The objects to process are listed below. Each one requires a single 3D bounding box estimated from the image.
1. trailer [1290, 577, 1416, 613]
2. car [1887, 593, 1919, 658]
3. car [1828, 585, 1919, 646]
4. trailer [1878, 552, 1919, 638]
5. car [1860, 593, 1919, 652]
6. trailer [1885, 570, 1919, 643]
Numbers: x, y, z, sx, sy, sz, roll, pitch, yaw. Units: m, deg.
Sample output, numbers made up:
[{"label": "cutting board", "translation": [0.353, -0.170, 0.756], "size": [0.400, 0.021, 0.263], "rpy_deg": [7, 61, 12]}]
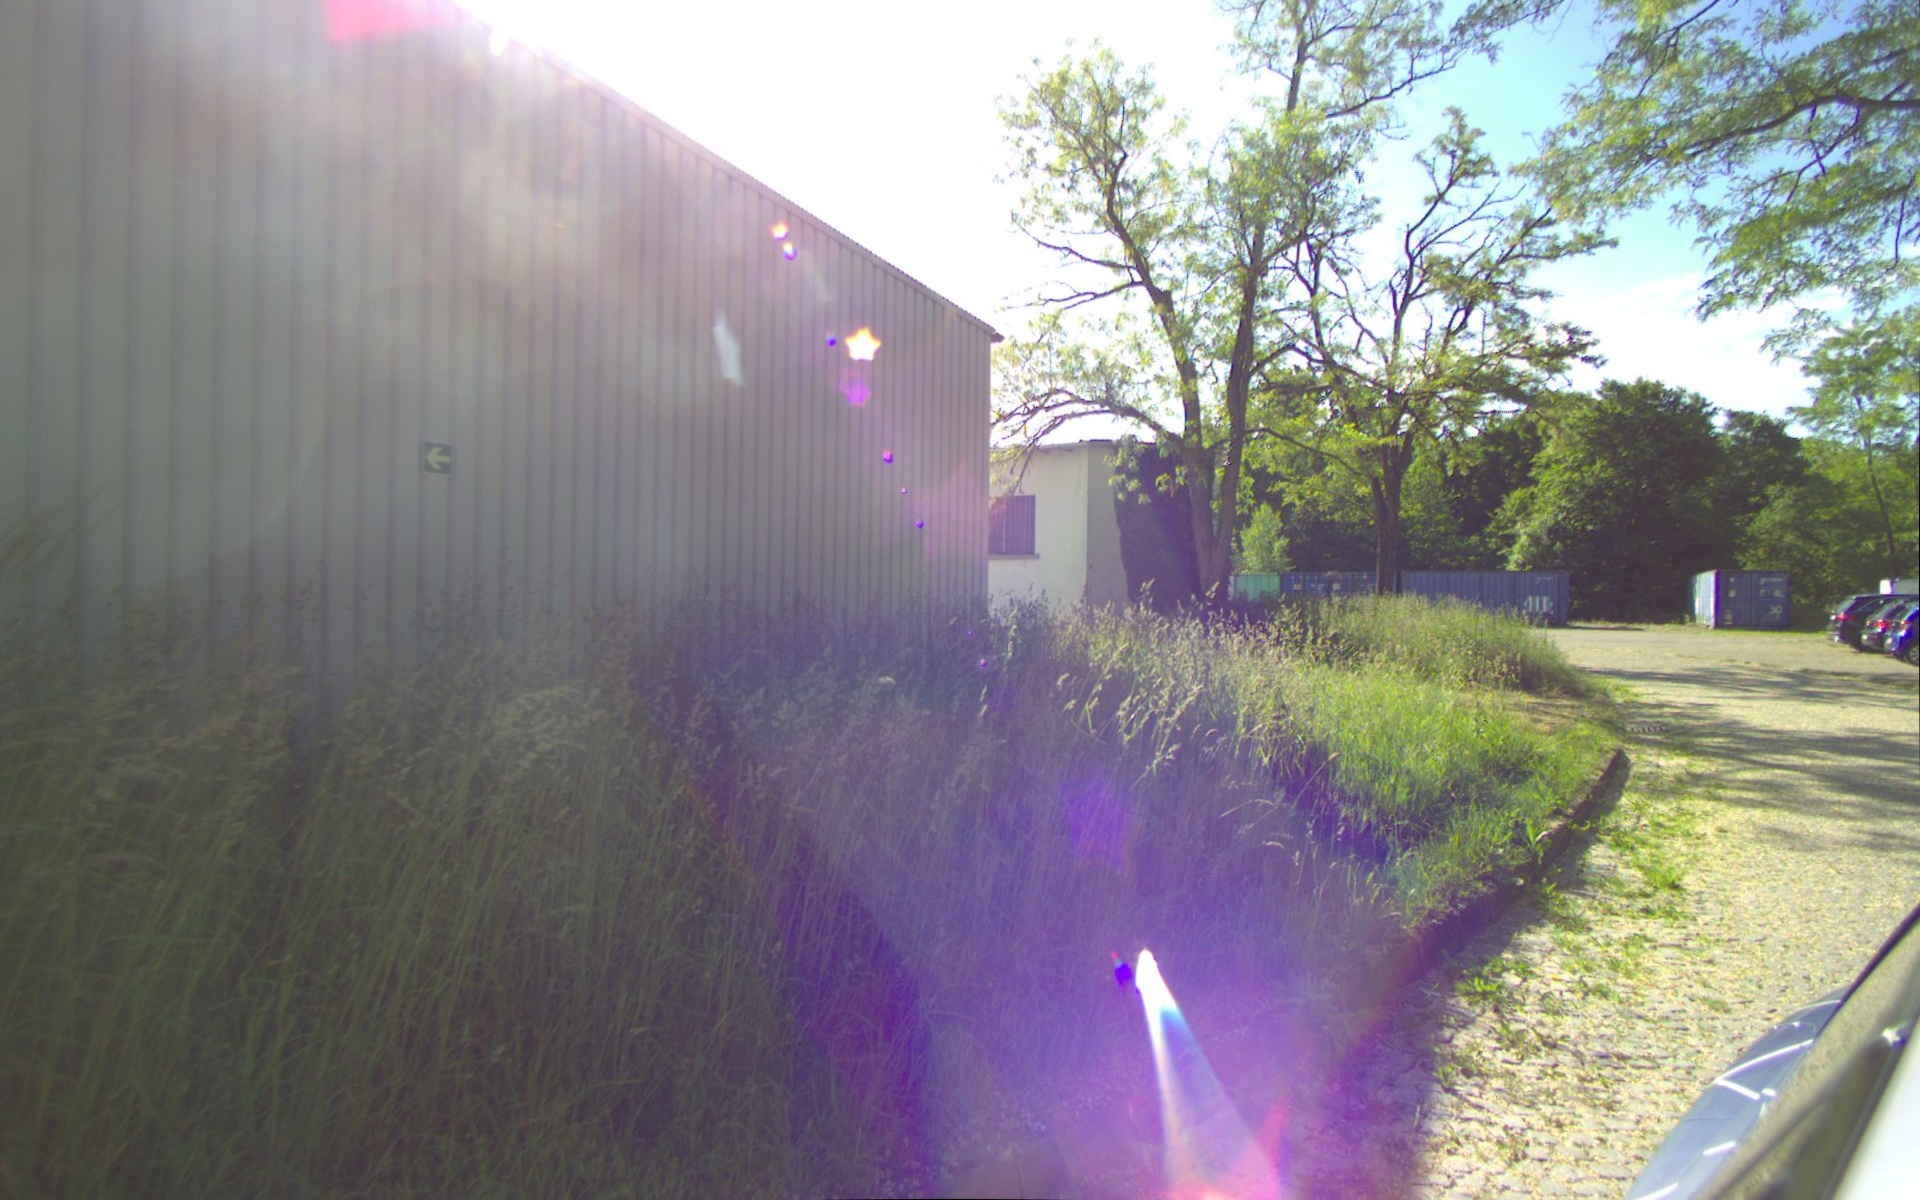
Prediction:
[{"label": "trailer", "translation": [17.495, -0.258, 45.106], "size": [4.827, 1.432, 2.618], "rpy_deg": [2, 2, 33]}, {"label": "car", "translation": [23.789, 0.572, 22.983], "size": [3.763, 1.477, 1.764], "rpy_deg": [-1, 0, 34]}, {"label": "car", "translation": [26.389, 0.403, 27.416], "size": [4.101, 1.610, 1.947], "rpy_deg": [0, 1, 33]}, {"label": "trailer", "translation": [30.163, -0.216, 30.836], "size": [2.830, 2.571, 2.238], "rpy_deg": [-3, -1, 35]}, {"label": "car", "translation": [25.137, 0.545, 25.219], "size": [3.762, 1.429, 1.873], "rpy_deg": [0, 1, 33]}, {"label": "trailer", "translation": [28.713, 0.166, 29.104], "size": [2.831, 2.076, 1.802], "rpy_deg": [0, 0, 35]}]
